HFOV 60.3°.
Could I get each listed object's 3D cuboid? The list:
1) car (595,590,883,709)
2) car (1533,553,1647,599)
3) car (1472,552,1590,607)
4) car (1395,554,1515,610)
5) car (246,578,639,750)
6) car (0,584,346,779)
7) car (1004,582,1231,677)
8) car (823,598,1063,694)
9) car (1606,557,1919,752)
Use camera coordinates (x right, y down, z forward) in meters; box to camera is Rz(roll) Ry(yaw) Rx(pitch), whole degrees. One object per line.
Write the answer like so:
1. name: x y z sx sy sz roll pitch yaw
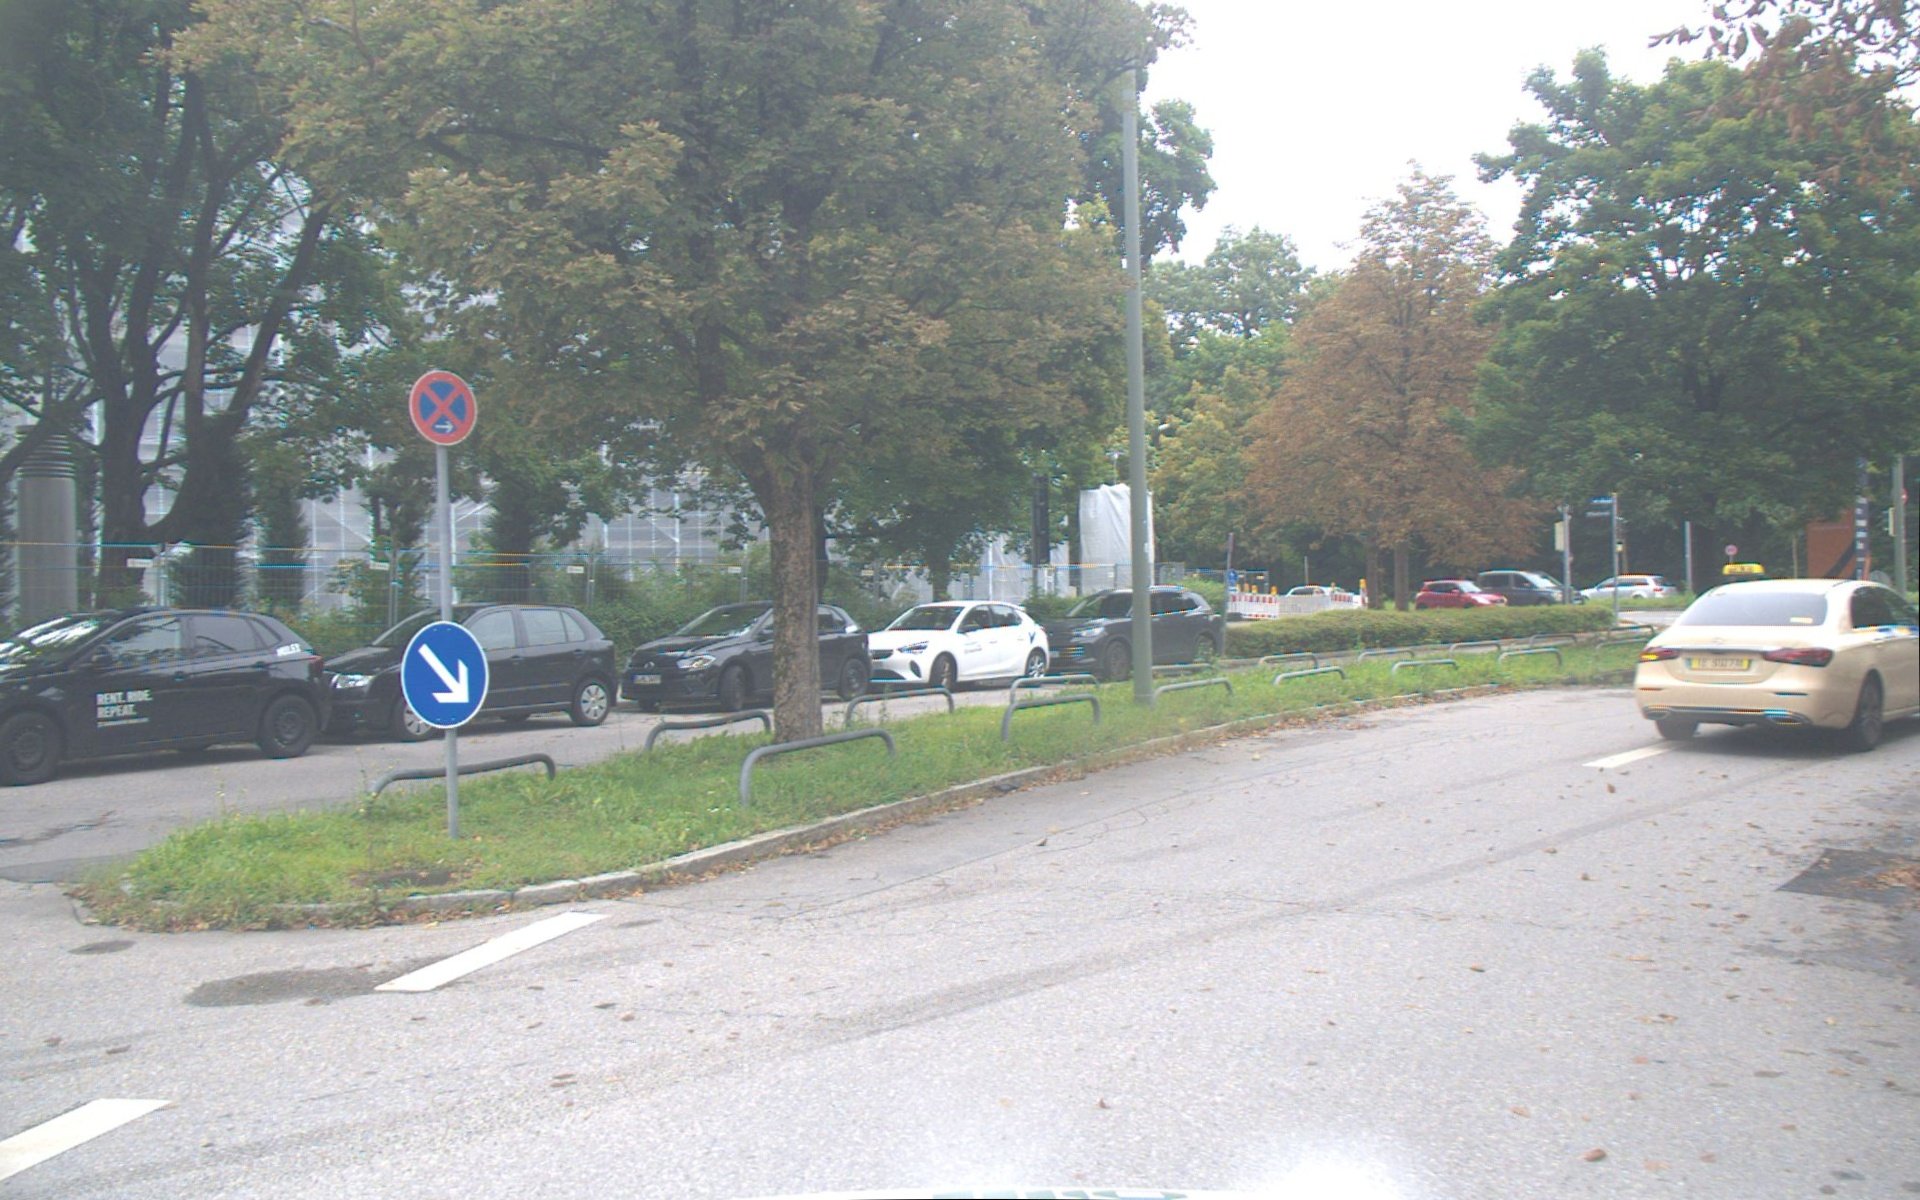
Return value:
1. car: -2.987 0.647 23.081 1.802 1.486 3.994 -2 -1 33
2. car: 26.343 -0.982 69.244 1.974 1.780 4.079 -1 0 -32
3. car: 22.447 -0.777 65.126 1.979 2.049 3.947 -1 0 -37
4. car: 19.218 -0.680 64.347 1.979 2.049 4.102 -1 0 -37
5. car: -5.784 0.618 18.916 1.958 1.735 3.989 0 1 33
6. car: -7.891 0.652 15.003 1.958 1.568 3.989 0 1 33
7. car: 2.969 0.553 30.448 1.860 1.634 4.366 -2 -2 44
8. car: -0.189 0.714 27.023 1.766 1.408 4.203 -2 -1 36
9. car: 8.132 0.413 15.763 4.817 1.572 1.863 -1 0 -44
